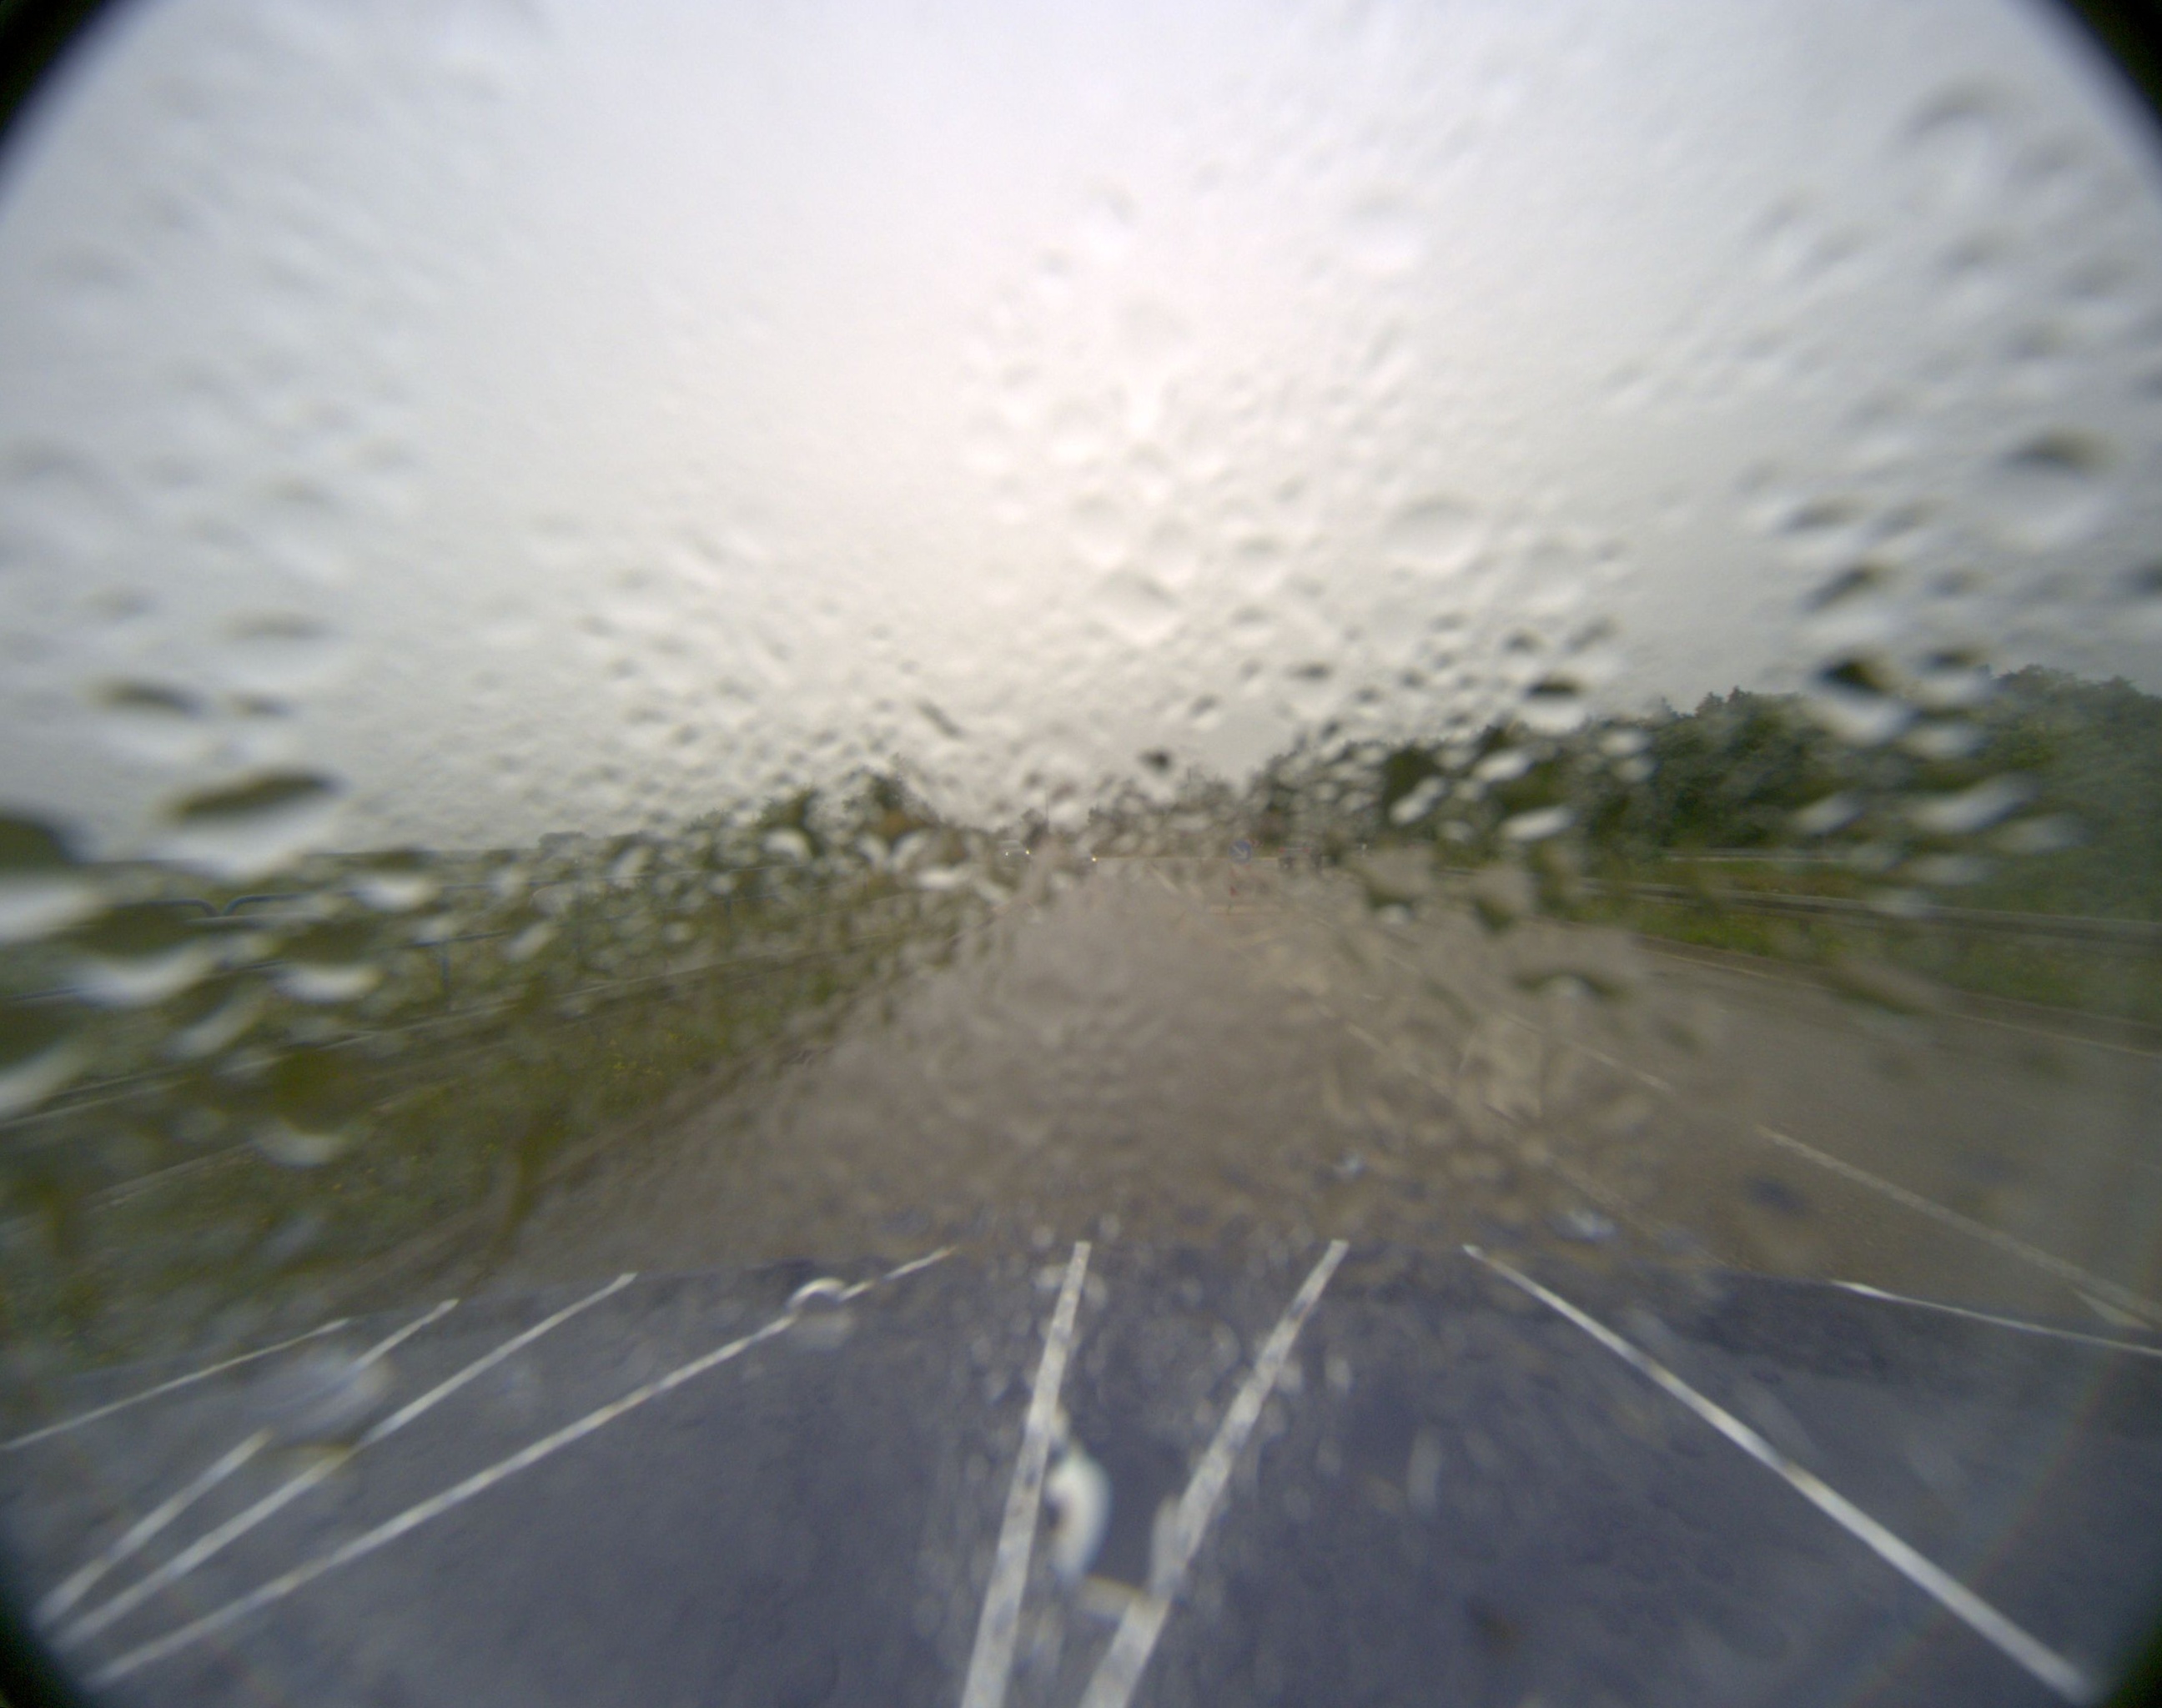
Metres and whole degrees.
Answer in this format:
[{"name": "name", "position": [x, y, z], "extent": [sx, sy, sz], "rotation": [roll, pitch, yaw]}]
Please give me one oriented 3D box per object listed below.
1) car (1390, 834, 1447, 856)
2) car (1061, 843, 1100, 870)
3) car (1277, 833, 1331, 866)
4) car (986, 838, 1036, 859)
[{"name": "car", "position": [23.481, -0.639, 52.793], "extent": [4.512, 1.413, 1.869], "rotation": [-2, 1, -41]}, {"name": "car", "position": [-0.093, 0.134, 41.506], "extent": [1.949, 1.363, 4.502], "rotation": [0, 0, -2]}, {"name": "car", "position": [12.160, -0.255, 41.227], "extent": [1.801, 1.566, 4.006], "rotation": [-1, 3, 31]}, {"name": "car", "position": [-4.936, -0.376, 53.024], "extent": [1.767, 1.412, 4.493], "rotation": [0, 0, -29]}]
